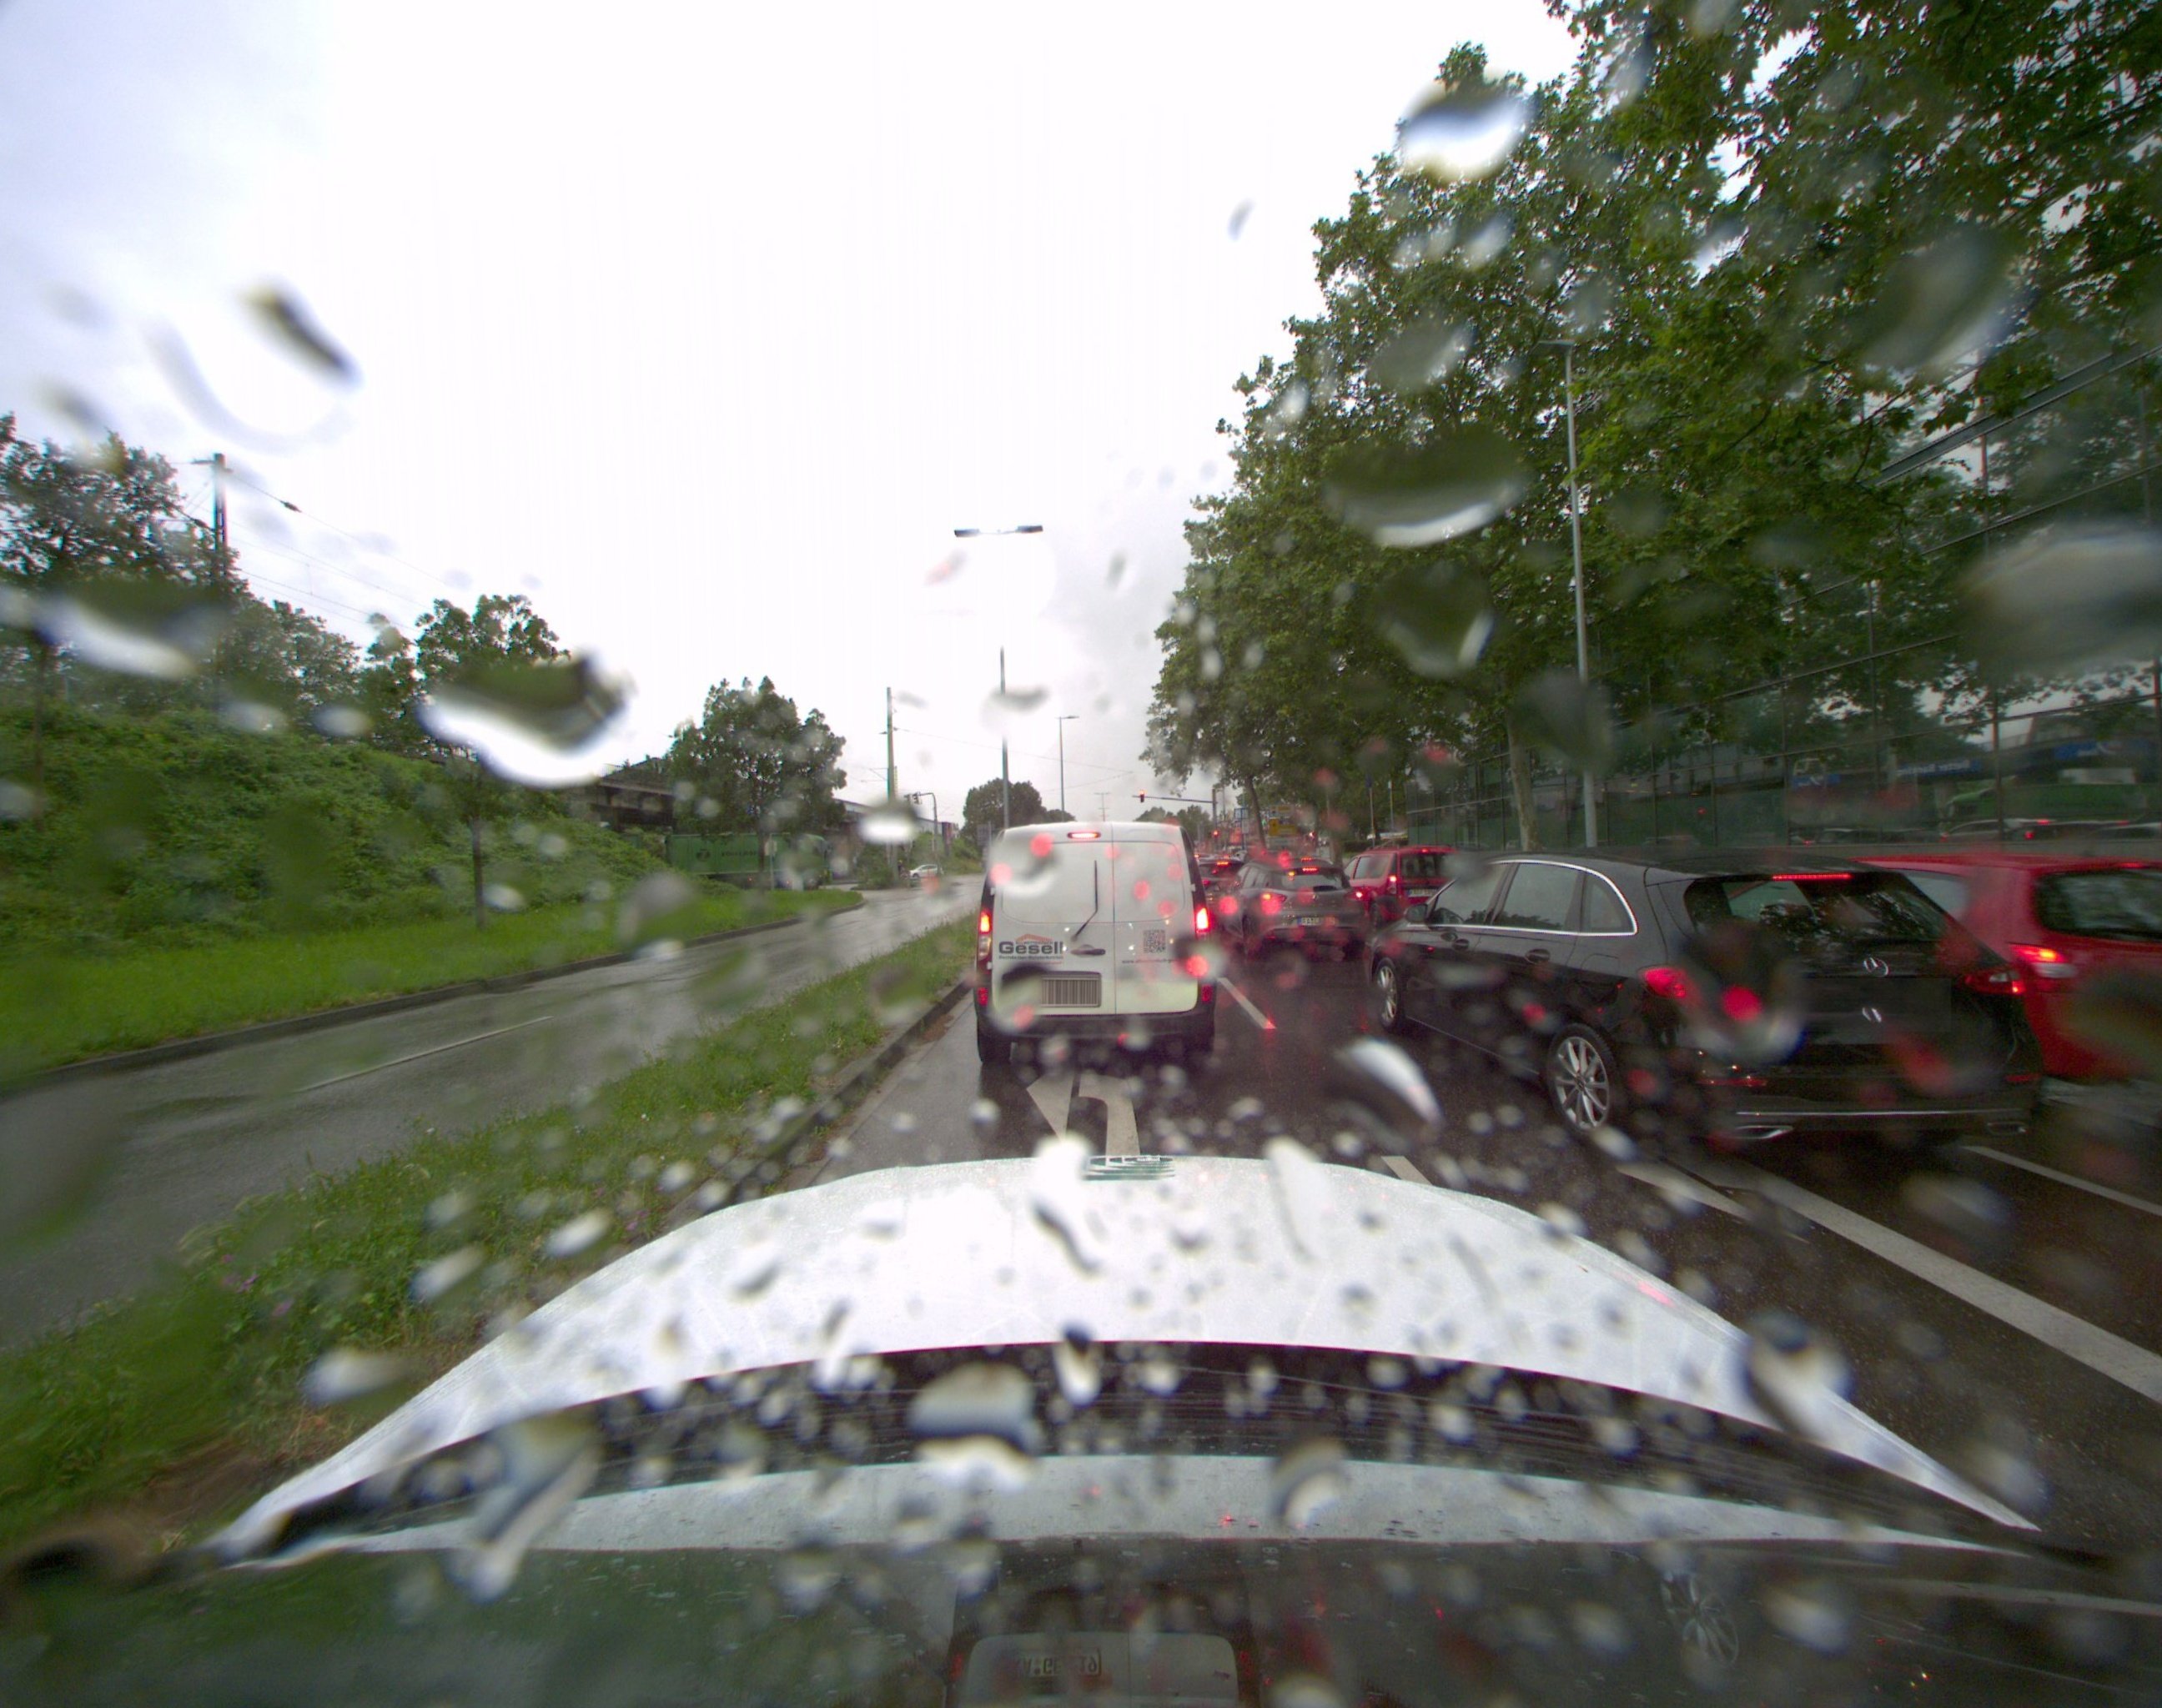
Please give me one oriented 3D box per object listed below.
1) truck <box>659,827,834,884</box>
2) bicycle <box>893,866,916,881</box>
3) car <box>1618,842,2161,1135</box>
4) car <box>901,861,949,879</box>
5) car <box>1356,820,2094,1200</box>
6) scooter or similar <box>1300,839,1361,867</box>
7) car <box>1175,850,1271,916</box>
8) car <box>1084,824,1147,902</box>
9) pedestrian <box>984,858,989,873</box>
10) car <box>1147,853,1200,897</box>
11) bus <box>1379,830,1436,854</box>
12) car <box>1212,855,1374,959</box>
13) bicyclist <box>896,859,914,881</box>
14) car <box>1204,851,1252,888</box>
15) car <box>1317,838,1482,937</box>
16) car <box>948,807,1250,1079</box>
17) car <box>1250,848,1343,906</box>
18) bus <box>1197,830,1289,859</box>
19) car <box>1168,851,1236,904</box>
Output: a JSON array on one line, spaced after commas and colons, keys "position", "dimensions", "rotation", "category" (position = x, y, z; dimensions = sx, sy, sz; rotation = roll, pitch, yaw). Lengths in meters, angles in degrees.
[{"position": [-21.285, 0.027, 52.382], "dimensions": [10.105, 3.371, 2.322], "rotation": [-2, 0, -35], "category": "truck"}, {"position": [-12.133, 1.343, 56.017], "dimensions": [1.045, 0.952, 2.866], "rotation": [-2, 0, -22], "category": "bicycle"}, {"position": [5.710, 0.668, 5.803], "dimensions": [1.563, 1.462, 3.390], "rotation": [-1, 0, 1], "category": "car"}, {"position": [-15.613, 1.566, 81.762], "dimensions": [4.265, 1.596, 1.979], "rotation": [-2, 0, -33], "category": "car"}, {"position": [3.375, 0.651, 5.446], "dimensions": [1.741, 1.554, 4.091], "rotation": [-1, 0, 1], "category": "car"}, {"position": [23.451, -0.067, 76.681], "dimensions": [1.905, 2.446, 5.257], "rotation": [-1, 0, -39], "category": "scooter or similar"}, {"position": [3.501, 0.666, 20.678], "dimensions": [1.847, 1.460, 3.844], "rotation": [-1, 0, 2], "category": "car"}, {"position": [1.100, 0.269, 26.593], "dimensions": [1.847, 2.296, 3.844], "rotation": [-1, 0, 2], "category": "car"}, {"position": [-11.238, 1.383, 96.532], "dimensions": [0.541, 1.716, 0.563], "rotation": [0, -1, -2], "category": "pedestrian"}, {"position": [3.754, 0.821, 33.571], "dimensions": [1.847, 1.650, 3.844], "rotation": [-1, -1, 2], "category": "car"}, {"position": [51.682, -1.887, 128.580], "dimensions": [12.067, 3.423, 2.455], "rotation": [-3, 0, -37], "category": "bus"}, {"position": [3.238, 0.736, 13.157], "dimensions": [1.677, 1.408, 3.844], "rotation": [0, 0, 1], "category": "car"}, {"position": [-12.098, 1.097, 55.900], "dimensions": [1.045, 1.450, 0.723], "rotation": [-2, 0, -23], "category": "bicyclist"}, {"position": [6.905, 0.719, 38.610], "dimensions": [1.702, 1.650, 3.844], "rotation": [-1, -1, 2], "category": "car"}, {"position": [6.131, 0.611, 16.236], "dimensions": [1.704, 1.694, 4.273], "rotation": [0, -1, 2], "category": "car"}, {"position": [0.192, 0.593, 7.769], "dimensions": [1.986, 1.776, 4.587], "rotation": [-1, 0, 2], "category": "car"}, {"position": [6.422, 0.625, 24.690], "dimensions": [1.869, 1.613, 4.002], "rotation": [0, 0, 2], "category": "car"}, {"position": [21.895, -1.334, 110.586], "dimensions": [11.926, 3.423, 2.316], "rotation": [-2, 0, 1], "category": "bus"}, {"position": [4.059, 0.735, 27.897], "dimensions": [1.847, 1.649, 3.844], "rotation": [-1, 0, 2], "category": "car"}]
